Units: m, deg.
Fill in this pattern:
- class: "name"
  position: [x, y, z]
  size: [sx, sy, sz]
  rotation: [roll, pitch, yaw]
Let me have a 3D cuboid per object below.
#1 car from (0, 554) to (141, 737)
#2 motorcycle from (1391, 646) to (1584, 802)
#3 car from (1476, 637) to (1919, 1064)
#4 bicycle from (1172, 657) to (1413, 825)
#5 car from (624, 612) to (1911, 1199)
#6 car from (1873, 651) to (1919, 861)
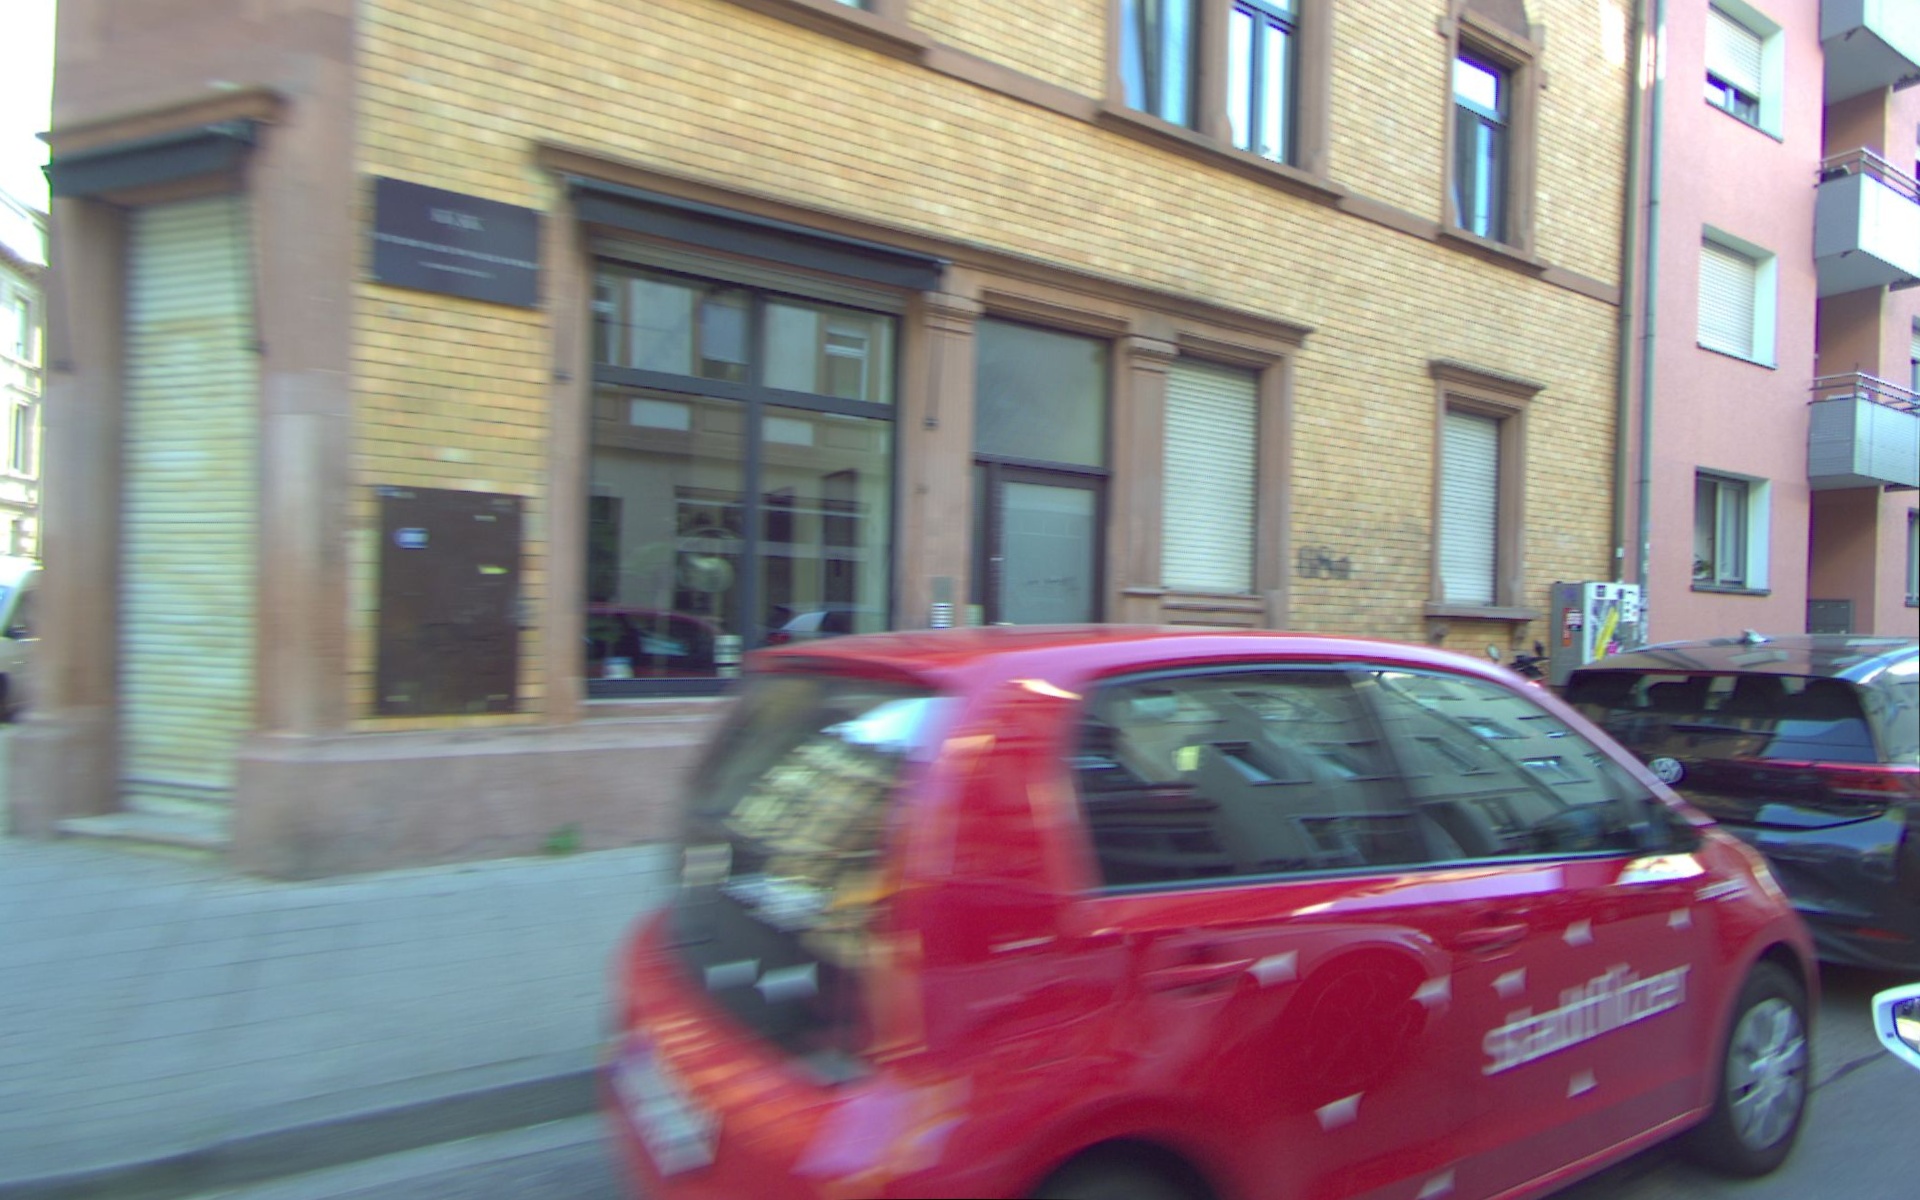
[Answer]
- class: "car"
  position: [-11.470, 0.433, 11.518]
  size: [1.913, 1.919, 4.340]
  rotation: [4, -2, -23]
- class: "motorcycle"
  position: [4.581, 1.022, 8.682]
  size: [1.886, 1.222, 0.531]
  rotation: [2, -1, -30]
- class: "car"
  position: [4.819, 0.987, 5.364]
  size: [4.045, 1.541, 1.689]
  rotation: [2, -3, -28]
- class: "bicycle"
  position: [2.506, 0.998, 7.496]
  size: [1.868, 1.088, 0.531]
  rotation: [2, 3, -30]
- class: "car"
  position: [1.028, 0.842, 2.939]
  size: [3.559, 1.500, 1.620]
  rotation: [2, -3, -31]
- class: "car"
  position: [9.035, 1.173, 7.808]
  size: [3.895, 1.541, 1.650]
  rotation: [2, -3, -28]
